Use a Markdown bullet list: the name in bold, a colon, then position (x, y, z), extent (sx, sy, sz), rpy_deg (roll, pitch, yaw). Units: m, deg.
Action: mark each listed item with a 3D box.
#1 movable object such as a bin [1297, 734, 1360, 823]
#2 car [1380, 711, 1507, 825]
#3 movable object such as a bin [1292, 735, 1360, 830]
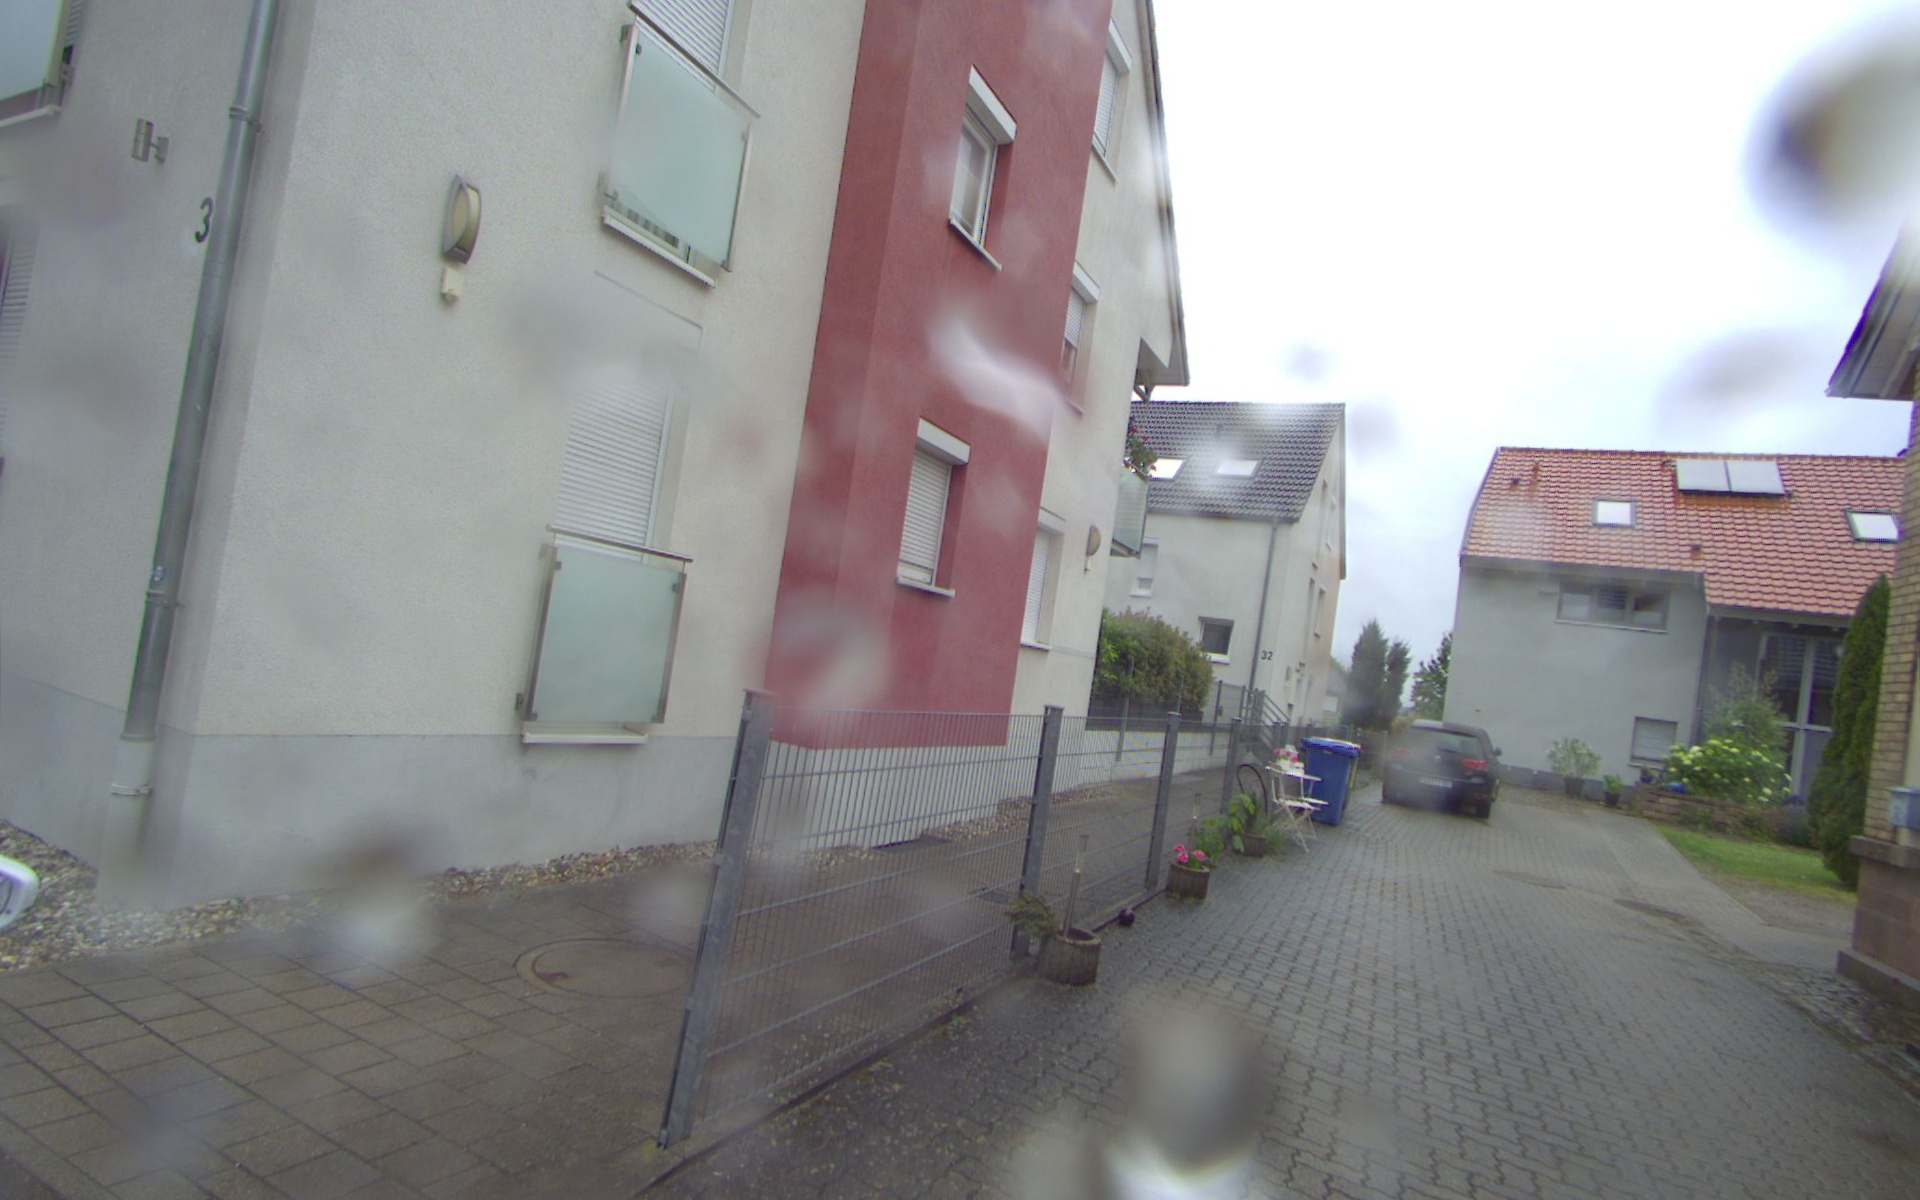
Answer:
- **movable object such as a bin**: position (5.162, 2.481, 14.083), extent (0.675, 1.108, 0.536), rpy_deg (7, -2, 26)
- **car**: position (8.962, 2.961, 18.466), extent (1.656, 1.491, 3.993), rpy_deg (7, 0, 30)
- **movable object such as a bin**: position (4.844, 2.389, 13.295), extent (0.675, 1.108, 0.536), rpy_deg (7, -2, 26)
